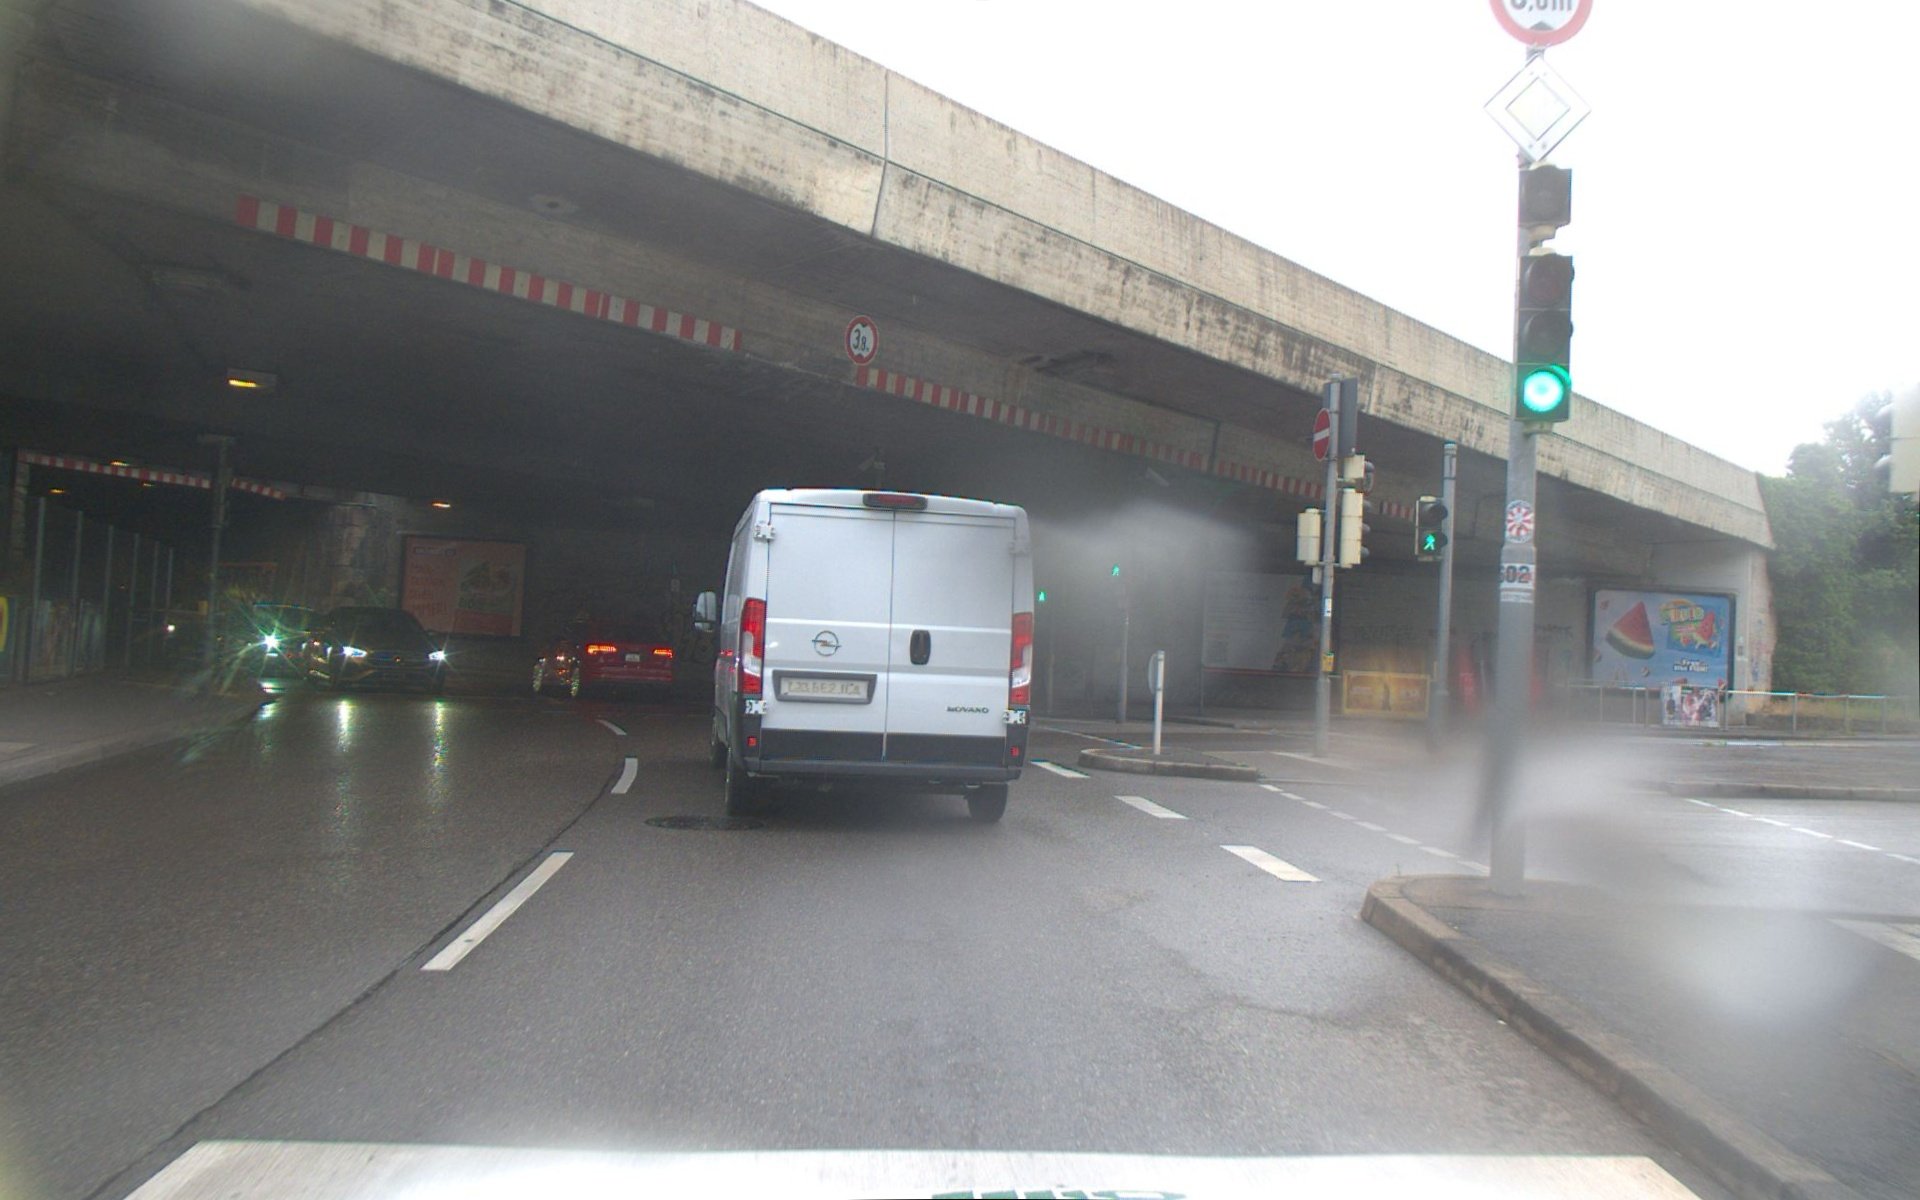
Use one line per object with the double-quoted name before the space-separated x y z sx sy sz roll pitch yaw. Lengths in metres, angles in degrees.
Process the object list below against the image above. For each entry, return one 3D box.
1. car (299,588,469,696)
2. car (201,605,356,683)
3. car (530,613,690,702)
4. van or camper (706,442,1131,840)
"car" -10.137 0.685 28.892 1.972 1.556 4.456 3 0 -30
"car" -14.272 0.897 34.523 1.979 1.490 4.051 3 -2 -37
"car" -6.470 1.017 30.272 1.814 1.464 4.066 3 -2 -27
"van or camper" -0.610 0.273 13.149 2.649 2.458 4.893 3 0 -9
